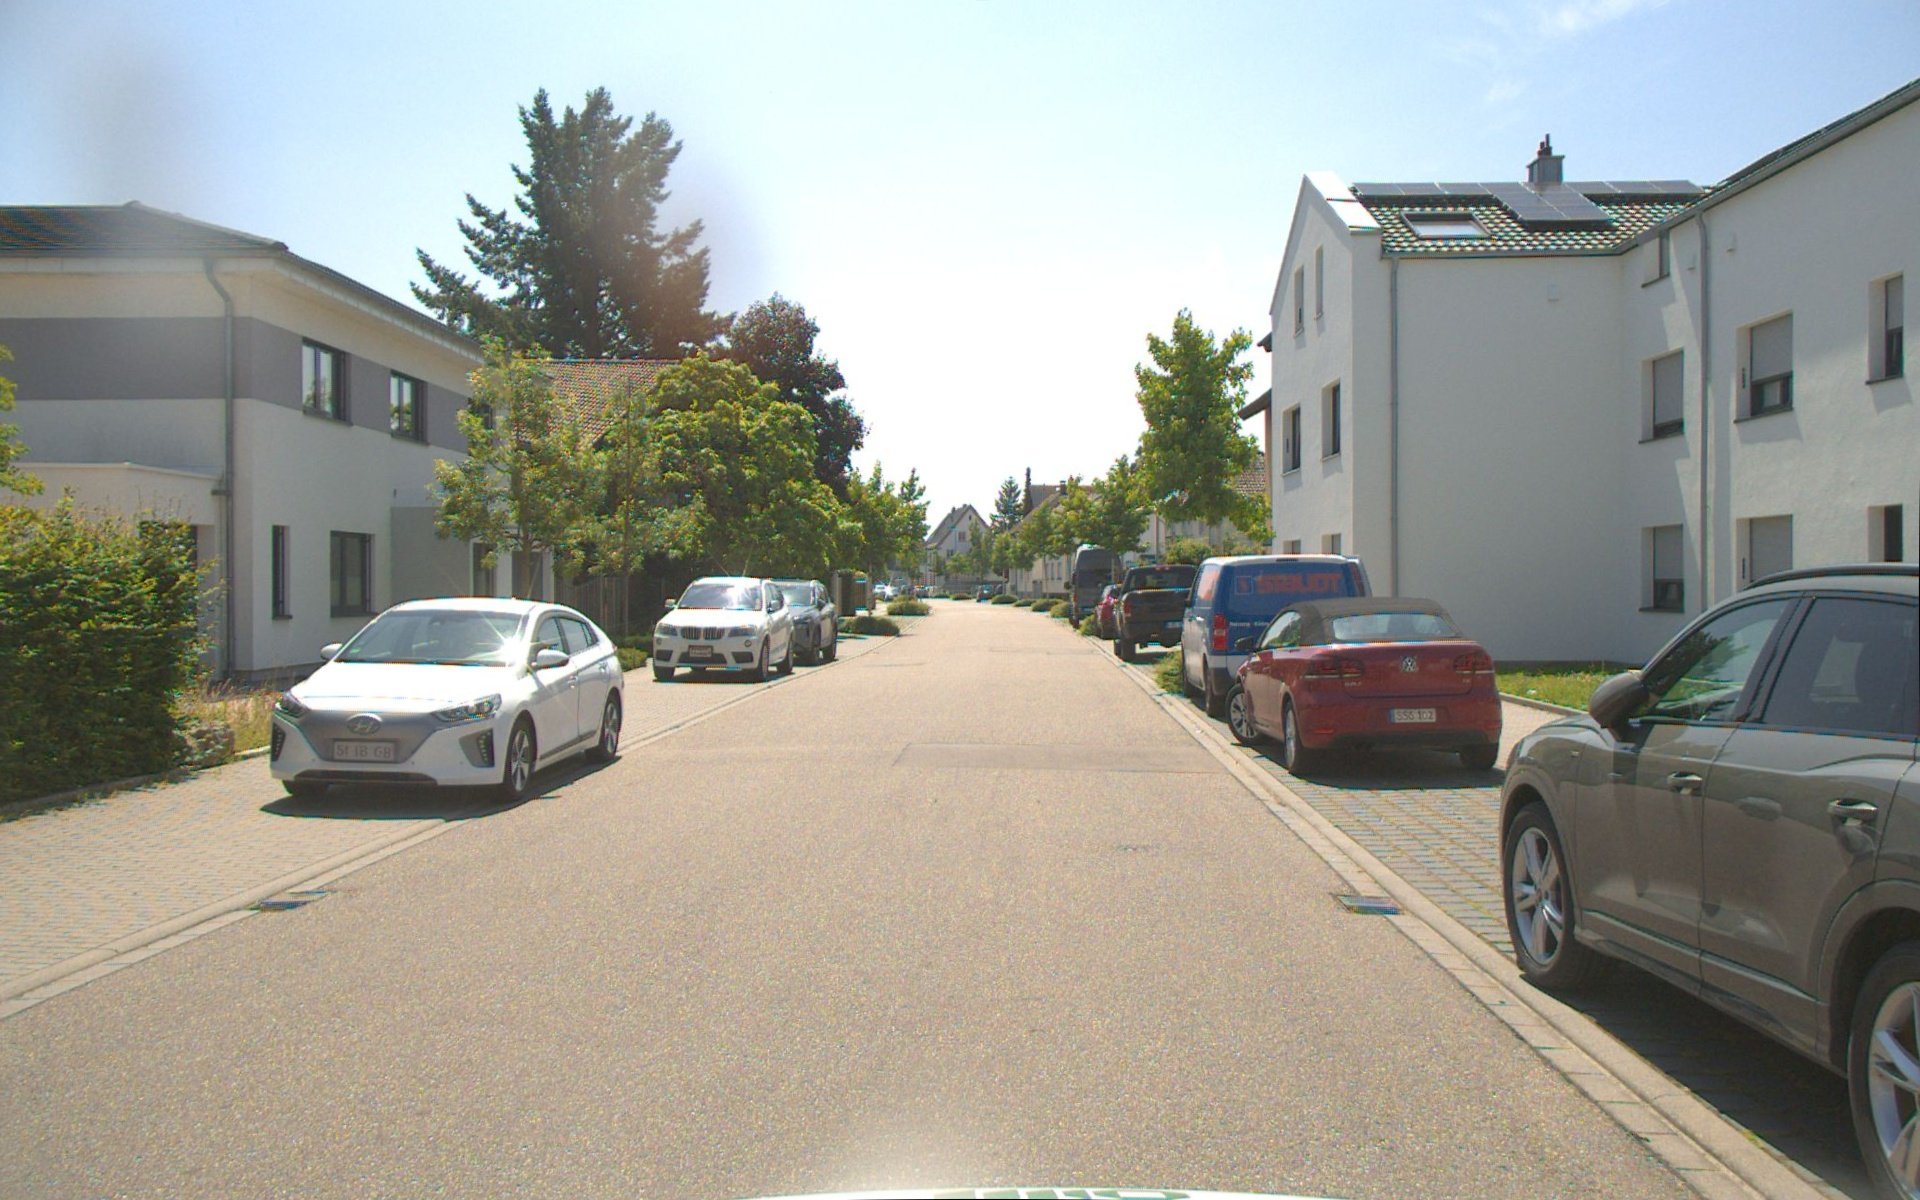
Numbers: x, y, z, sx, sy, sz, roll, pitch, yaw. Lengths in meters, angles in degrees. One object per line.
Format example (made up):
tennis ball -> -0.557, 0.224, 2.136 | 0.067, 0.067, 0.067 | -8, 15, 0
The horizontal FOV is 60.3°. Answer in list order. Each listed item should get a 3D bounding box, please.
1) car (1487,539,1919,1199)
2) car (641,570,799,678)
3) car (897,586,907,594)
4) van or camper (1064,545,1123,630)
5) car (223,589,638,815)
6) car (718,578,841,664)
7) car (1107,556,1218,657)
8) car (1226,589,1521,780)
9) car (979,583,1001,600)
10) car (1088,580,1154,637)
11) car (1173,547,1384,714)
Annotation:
car -> 3.120, 0.655, 4.931 | 1.737, 1.623, 4.279 | 0, 0, 0
car -> -4.042, 0.366, 28.591 | 1.887, 1.716, 4.500 | 0, 0, 2
car -> -7.873, -1.369, 225.523 | 1.166, 1.089, 3.049 | -1, 1, -7
van or camper -> 4.844, -0.456, 60.525 | 1.952, 2.993, 4.001 | 0, 0, 2
car -> -4.084, 0.689, 13.605 | 1.813, 1.514, 4.387 | 1, 0, 2
car -> -3.733, 0.408, 34.900 | 1.952, 1.709, 4.216 | 0, 0, 2
car -> 4.310, 0.121, 35.885 | 1.952, 1.981, 5.216 | -1, 0, 2
car -> 3.534, 0.645, 14.857 | 1.645, 1.467, 4.027 | 0, 0, 0
car -> 2.806, -0.812, 155.078 | 1.952, 1.601, 4.001 | 0, 1, 2
car -> 4.801, 0.245, 49.811 | 1.636, 1.623, 3.556 | -1, 0, 0
car -> 3.969, 0.336, 21.432 | 2.055, 1.915, 4.845 | 0, 0, 3
